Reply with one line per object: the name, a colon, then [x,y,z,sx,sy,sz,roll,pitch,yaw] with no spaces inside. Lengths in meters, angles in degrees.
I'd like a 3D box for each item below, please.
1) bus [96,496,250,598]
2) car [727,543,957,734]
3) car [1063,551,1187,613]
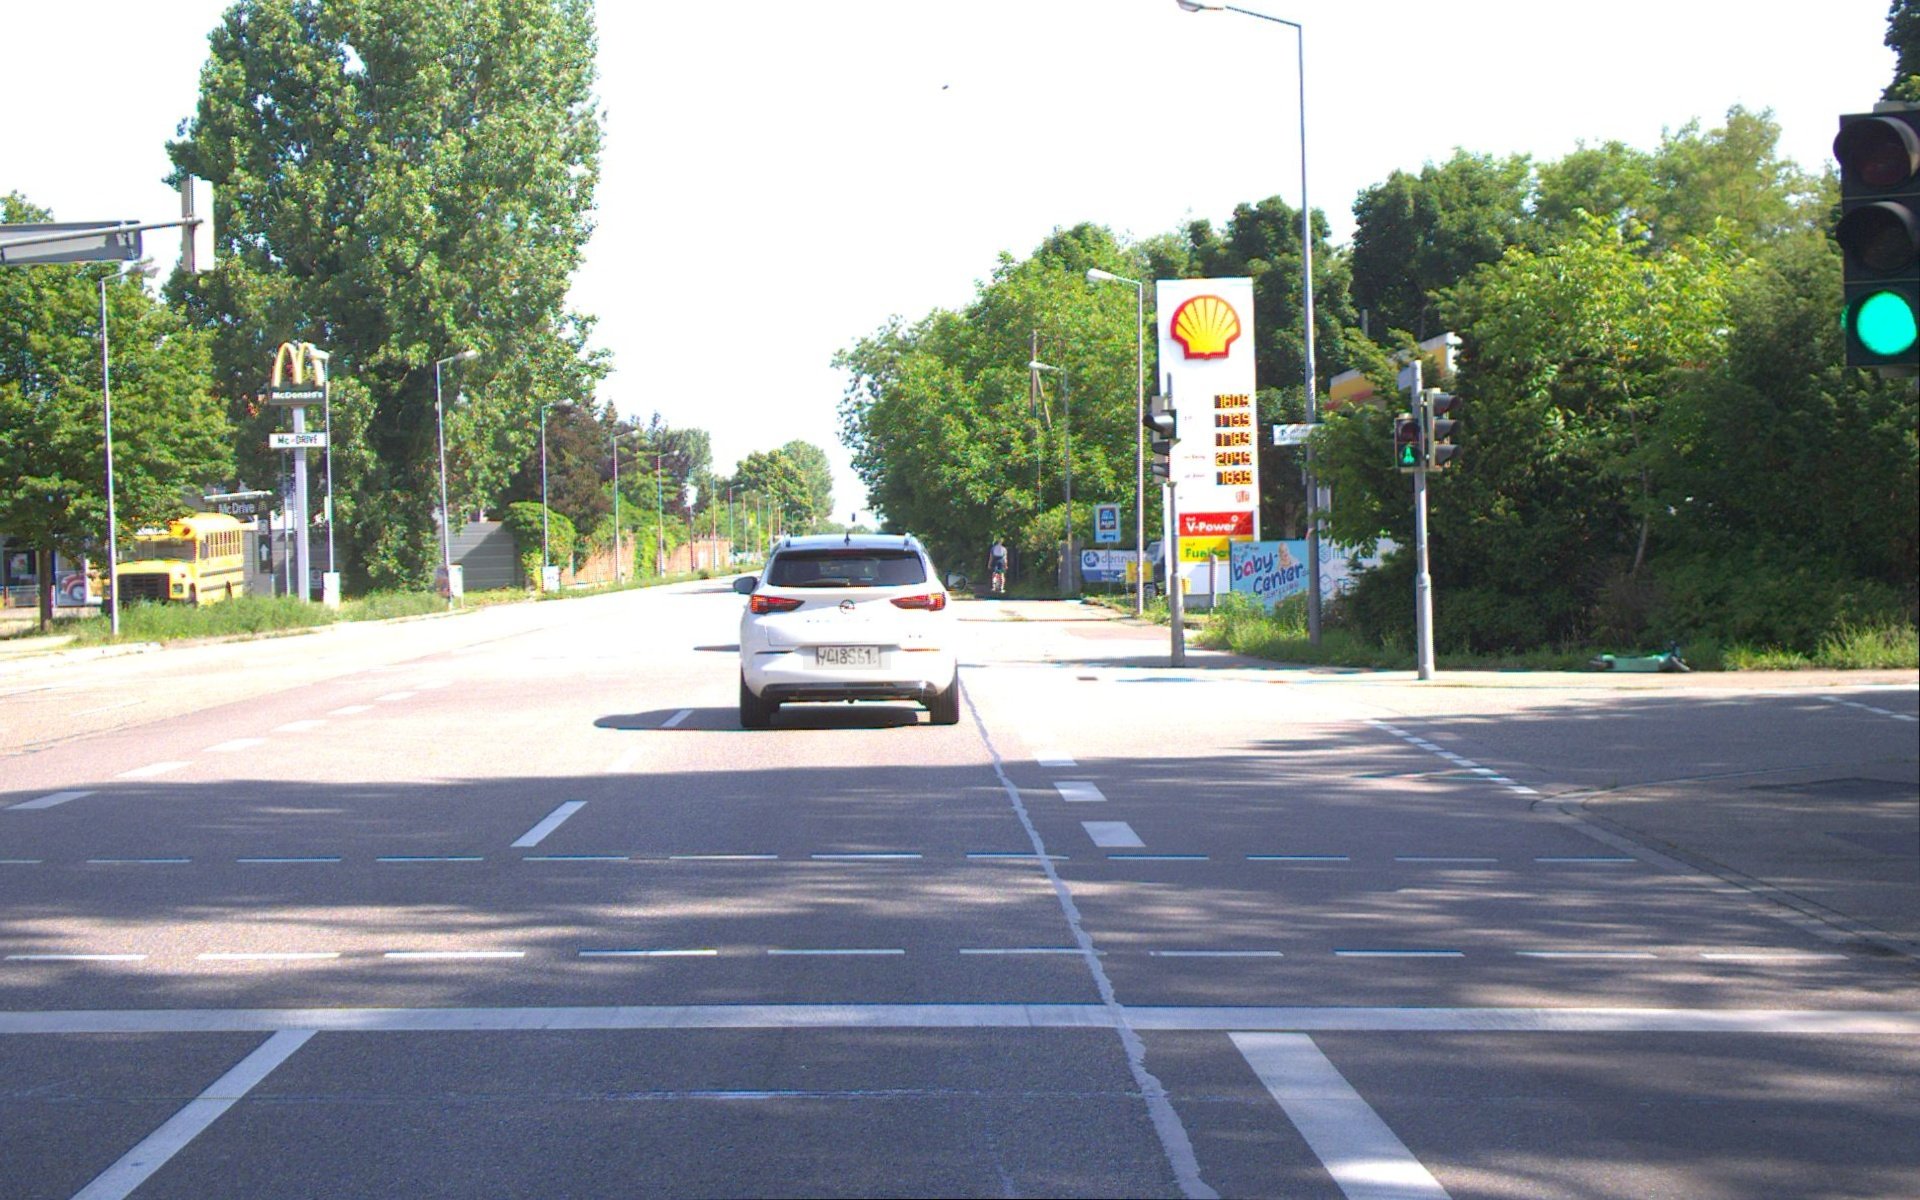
bus: [-21.505,-1.413,94.380,2.579,2.670,8.998,0,0,-3]
car: [-0.993,0.300,29.909,1.847,1.536,4.225,0,0,-1]
car: [4.129,-0.433,86.274,2.729,1.525,1.574,-1,-1,43]
